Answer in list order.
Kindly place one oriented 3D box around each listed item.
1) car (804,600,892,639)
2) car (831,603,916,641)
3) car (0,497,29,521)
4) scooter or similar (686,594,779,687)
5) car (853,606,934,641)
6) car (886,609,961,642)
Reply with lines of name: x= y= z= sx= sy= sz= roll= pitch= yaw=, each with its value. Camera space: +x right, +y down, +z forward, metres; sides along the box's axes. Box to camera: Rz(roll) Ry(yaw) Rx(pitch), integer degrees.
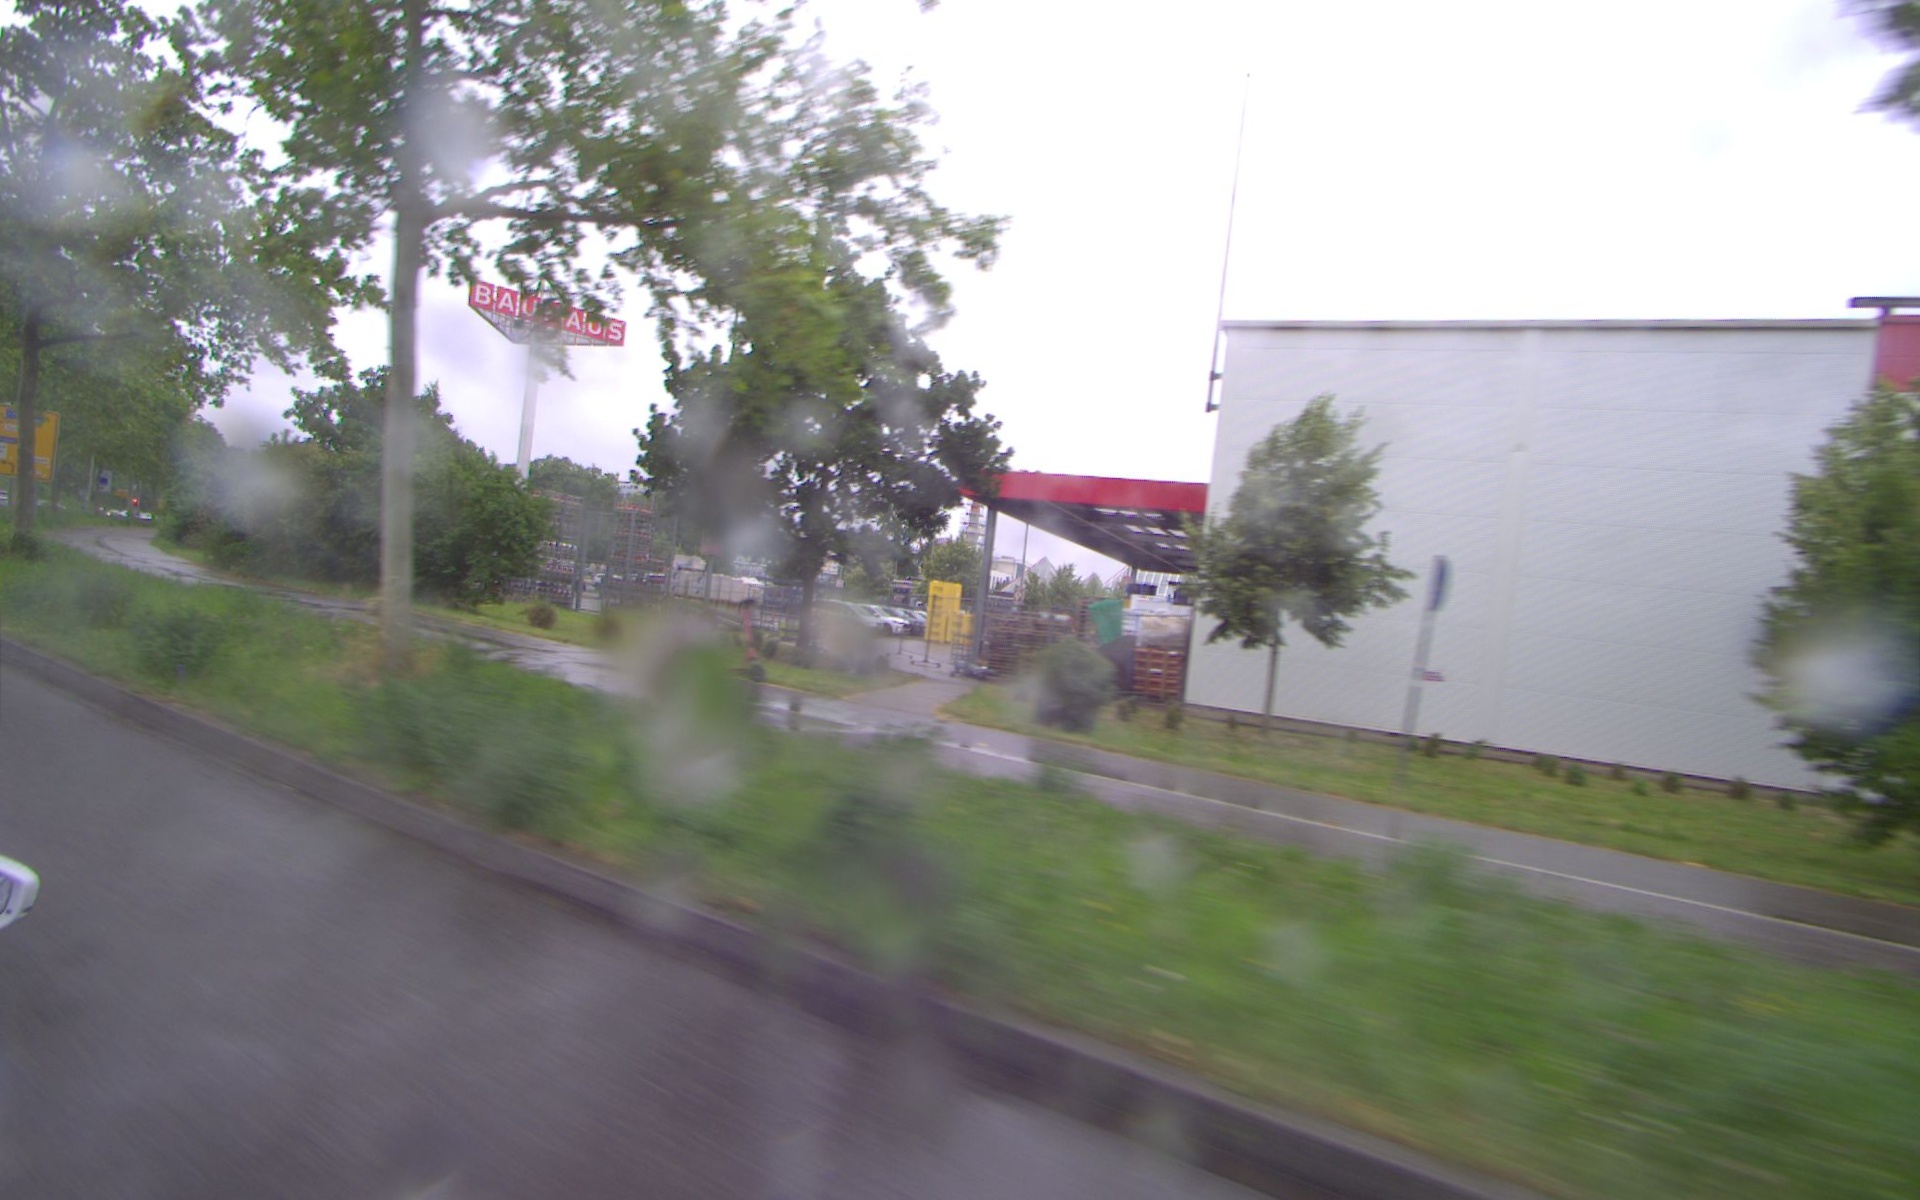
car: x=-6.234 y=1.106 z=55.903 sx=4.356 sy=1.596 sz=1.920 roll=6 pitch=-2 yaw=24
car: x=-5.020 y=1.268 z=58.367 sx=4.356 sy=1.596 sz=1.920 roll=6 pitch=-2 yaw=24
car: x=-71.799 y=-6.904 z=75.791 sx=1.771 sy=1.573 sz=3.962 roll=9 pitch=-2 yaw=-35
scooter or similar: x=-3.344 y=0.593 z=14.828 sx=1.091 sy=1.212 sz=0.550 roll=7 pitch=0 yaw=19
car: x=-4.055 y=1.425 z=61.256 sx=4.356 sy=1.596 sz=1.920 roll=6 pitch=-2 yaw=24
car: x=-2.370 y=1.692 z=65.856 sx=4.356 sy=1.596 sz=1.920 roll=6 pitch=-2 yaw=24
